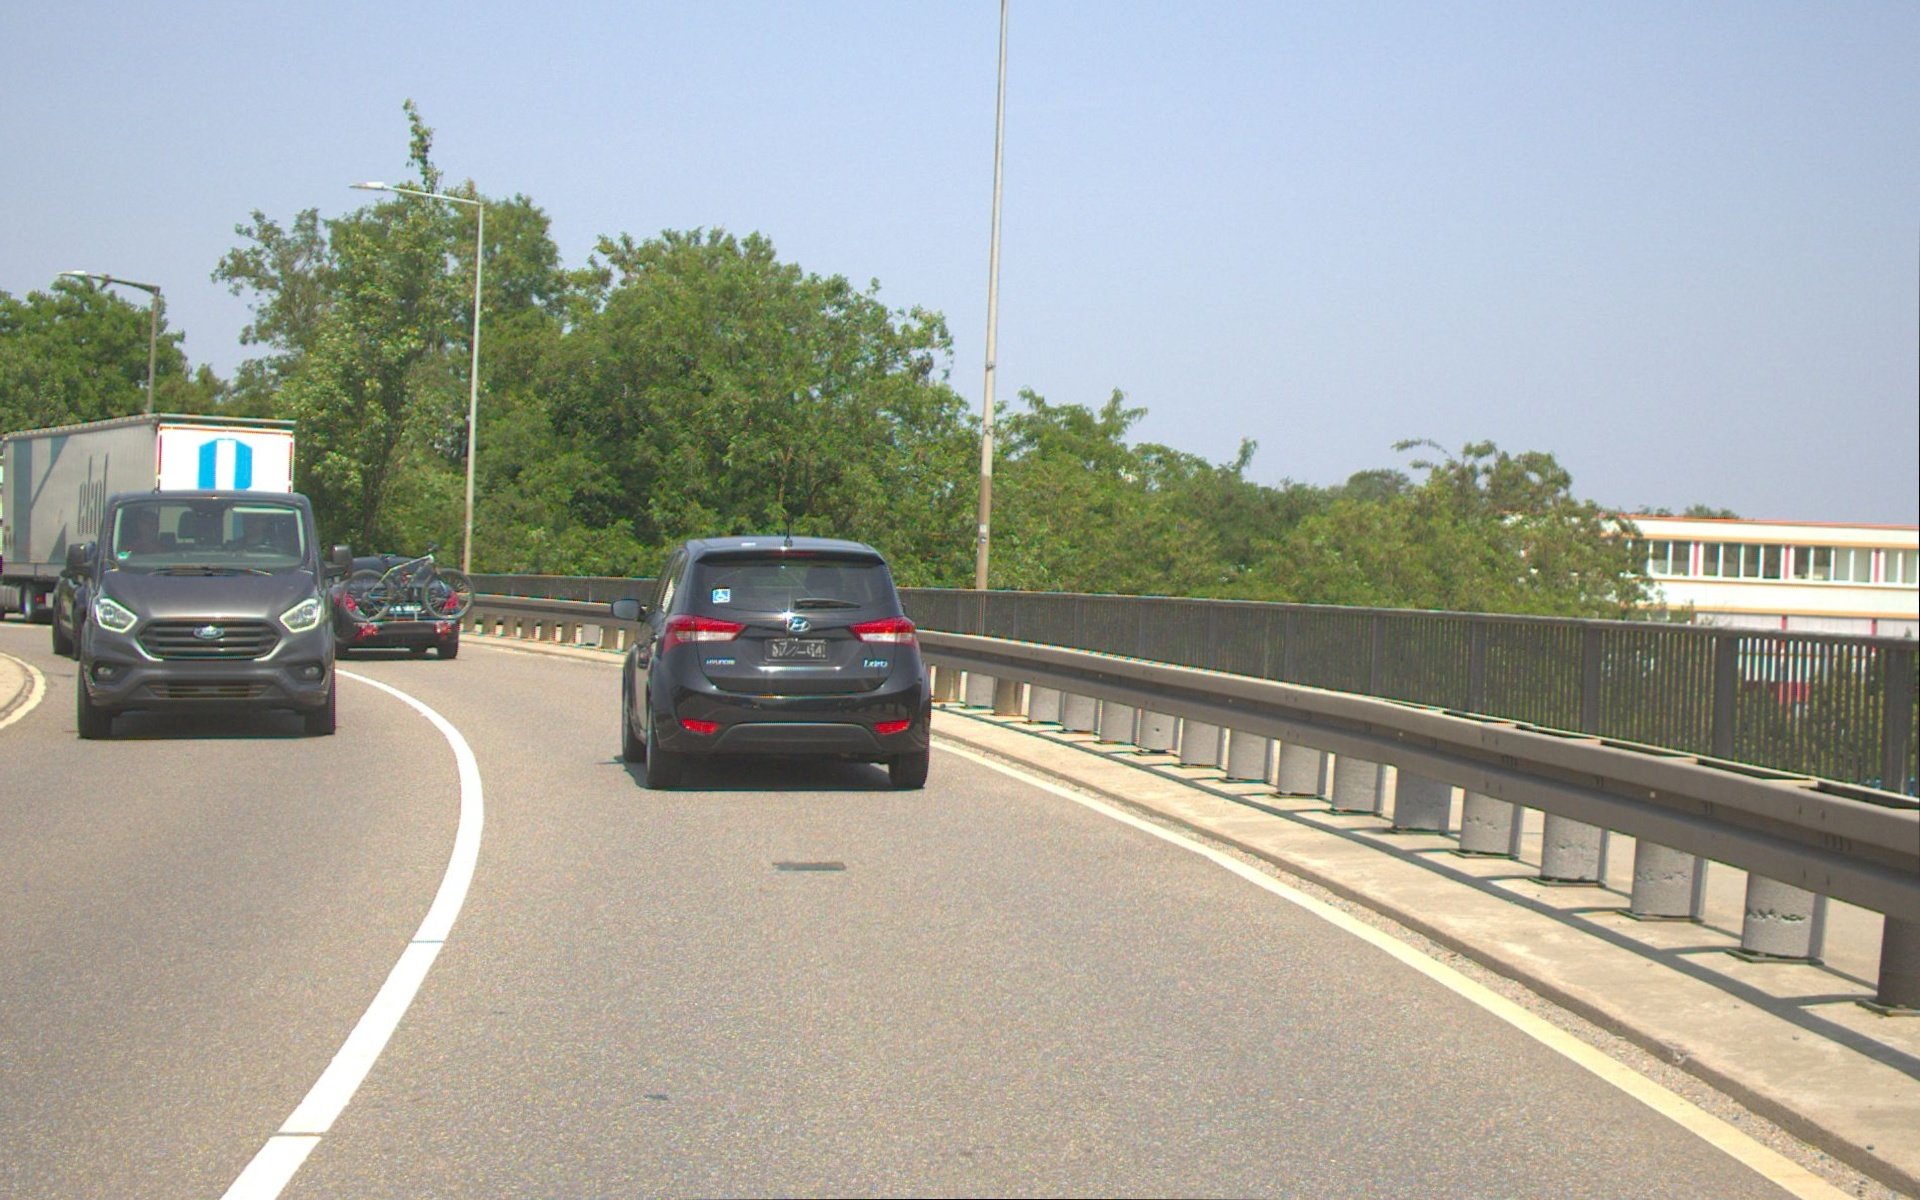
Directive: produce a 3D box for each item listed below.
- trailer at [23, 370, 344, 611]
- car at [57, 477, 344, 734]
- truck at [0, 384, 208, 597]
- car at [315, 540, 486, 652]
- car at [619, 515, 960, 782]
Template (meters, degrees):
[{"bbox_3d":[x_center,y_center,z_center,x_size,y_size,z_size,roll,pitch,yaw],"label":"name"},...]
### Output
[{"bbox_3d":[-15.615,-2.161,68.264,3.569,4.369,11.443,0,2,-26],"label":"trailer"},{"bbox_3d":[-6.472,0.016,28.871,2.006,1.952,5.273,0,0,-16],"label":"car"},{"bbox_3d":[-19.056,-2.372,75.100,3.572,4.425,6.516,0,2,-27],"label":"truck"},{"bbox_3d":[-7.814,-0.081,47.745,2.011,1.424,3.778,0,2,-14],"label":"car"},{"bbox_3d":[-1.213,0.250,22.658,1.921,1.568,3.893,1,2,-7],"label":"car"}]
